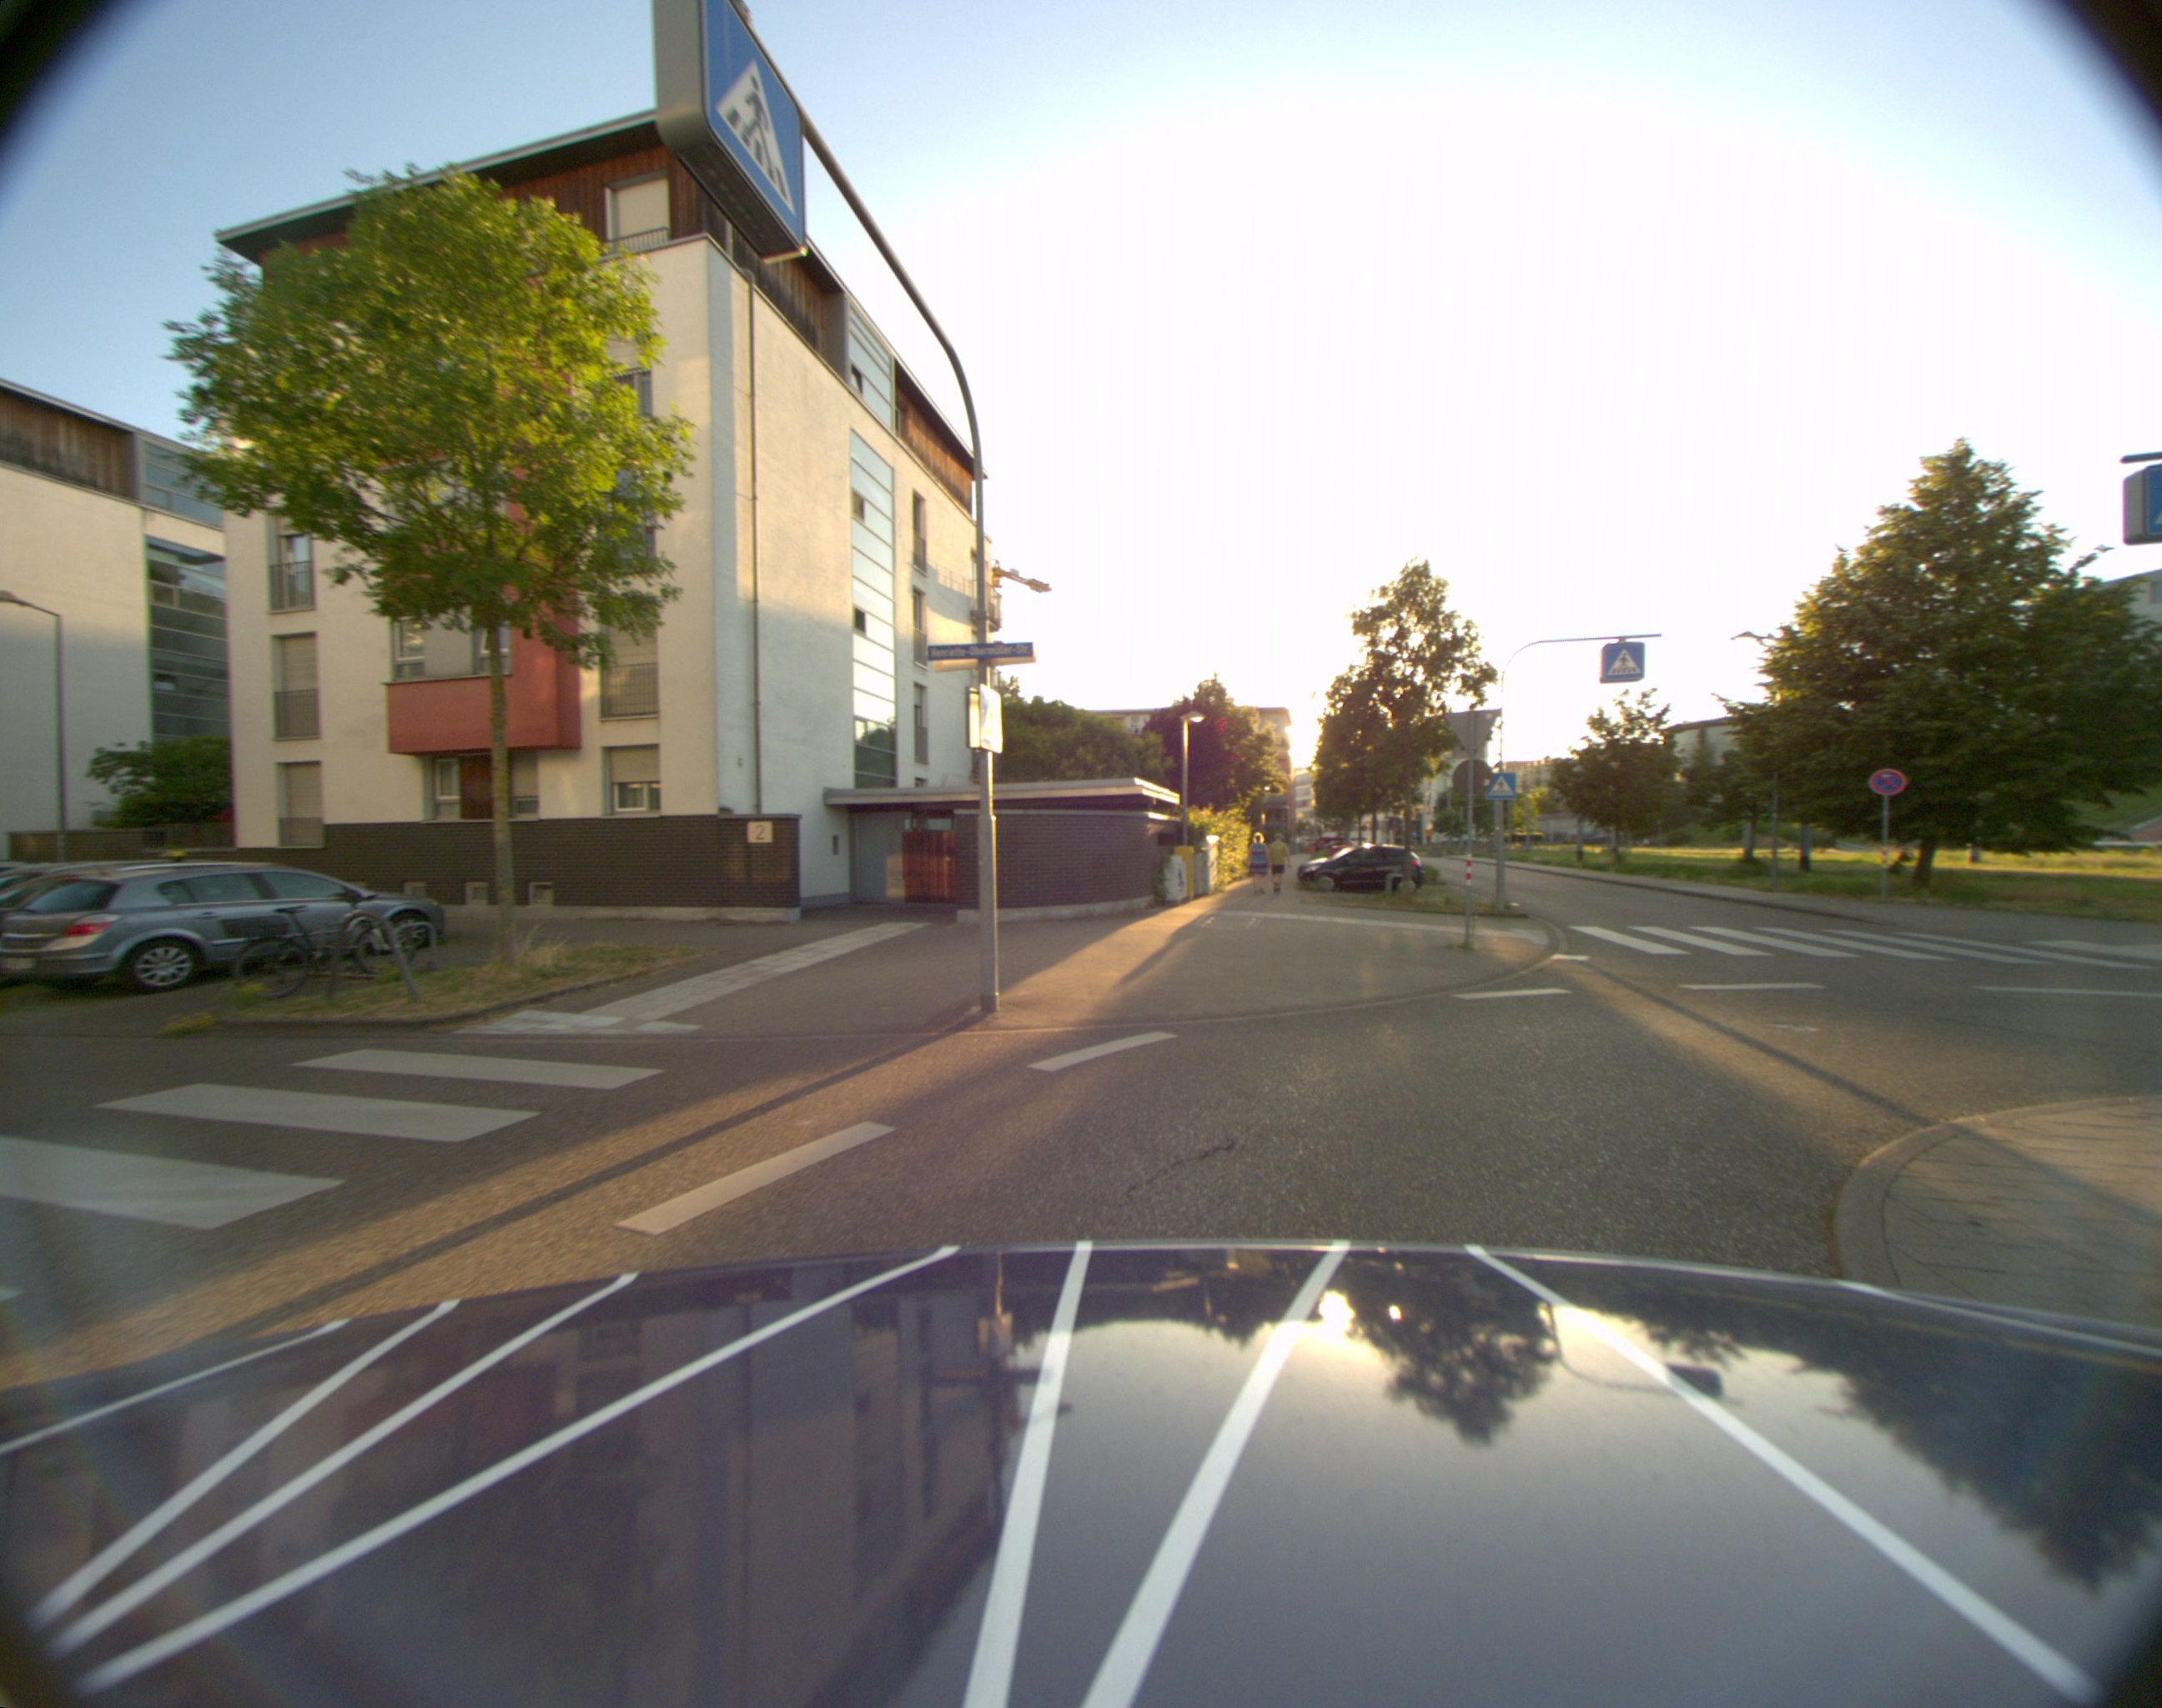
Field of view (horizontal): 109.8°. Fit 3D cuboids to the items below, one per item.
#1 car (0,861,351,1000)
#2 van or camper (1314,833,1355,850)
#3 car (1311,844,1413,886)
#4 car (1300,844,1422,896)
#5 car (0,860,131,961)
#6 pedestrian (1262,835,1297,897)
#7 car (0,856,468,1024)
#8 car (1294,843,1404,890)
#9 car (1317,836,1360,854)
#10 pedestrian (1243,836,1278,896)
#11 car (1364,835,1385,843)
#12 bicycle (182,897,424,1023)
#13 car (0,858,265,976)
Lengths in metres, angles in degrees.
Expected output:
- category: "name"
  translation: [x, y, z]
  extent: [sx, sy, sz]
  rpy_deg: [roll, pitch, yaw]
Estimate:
- category: "car"
  translation: [-13.662, 0.987, 10.522]
  extent: [1.708, 1.470, 4.921]
  rpy_deg: [-1, 3, 12]
- category: "van or camper"
  translation: [26.431, -1.268, 79.266]
  extent: [3.872, 1.685, 1.836]
  rpy_deg: [-1, 1, 14]
- category: "car"
  translation: [10.318, 0.378, 28.137]
  extent: [3.404, 1.492, 1.596]
  rpy_deg: [0, 2, 16]
- category: "car"
  translation: [8.569, 0.446, 23.527]
  extent: [3.404, 1.513, 1.692]
  rpy_deg: [0, 2, 16]
- category: "car"
  translation: [-18.870, 1.043, 11.810]
  extent: [1.756, 1.576, 4.763]
  rpy_deg: [-1, 3, 10]
- category: "pedestrian"
  translation: [5.482, 0.304, 20.995]
  extent: [0.625, 1.658, 0.741]
  rpy_deg: [-2, 4, -24]
- category: "car"
  translation: [-11.212, 0.940, 10.303]
  extent: [1.677, 1.450, 4.295]
  rpy_deg: [-1, 4, 12]
- category: "car"
  translation: [8.981, 0.380, 25.690]
  extent: [3.404, 1.492, 1.596]
  rpy_deg: [0, 2, 16]
- category: "car"
  translation: [25.905, -0.911, 76.544]
  extent: [3.873, 1.685, 1.704]
  rpy_deg: [-1, 1, 11]
- category: "pedestrian"
  translation: [4.889, 0.313, 20.721]
  extent: [0.657, 1.591, 0.711]
  rpy_deg: [-2, 4, -24]
- category: "car"
  translation: [62.081, -3.148, 160.628]
  extent: [3.872, 1.604, 1.704]
  rpy_deg: [-1, 1, 14]
- category: "bicycle"
  translation: [-8.728, 1.132, 8.661]
  extent: [0.566, 1.061, 1.823]
  rpy_deg: [-1, 4, 12]
- category: "car"
  translation: [-16.299, 0.977, 11.650]
  extent: [1.707, 1.547, 4.793]
  rpy_deg: [-1, 3, 18]
